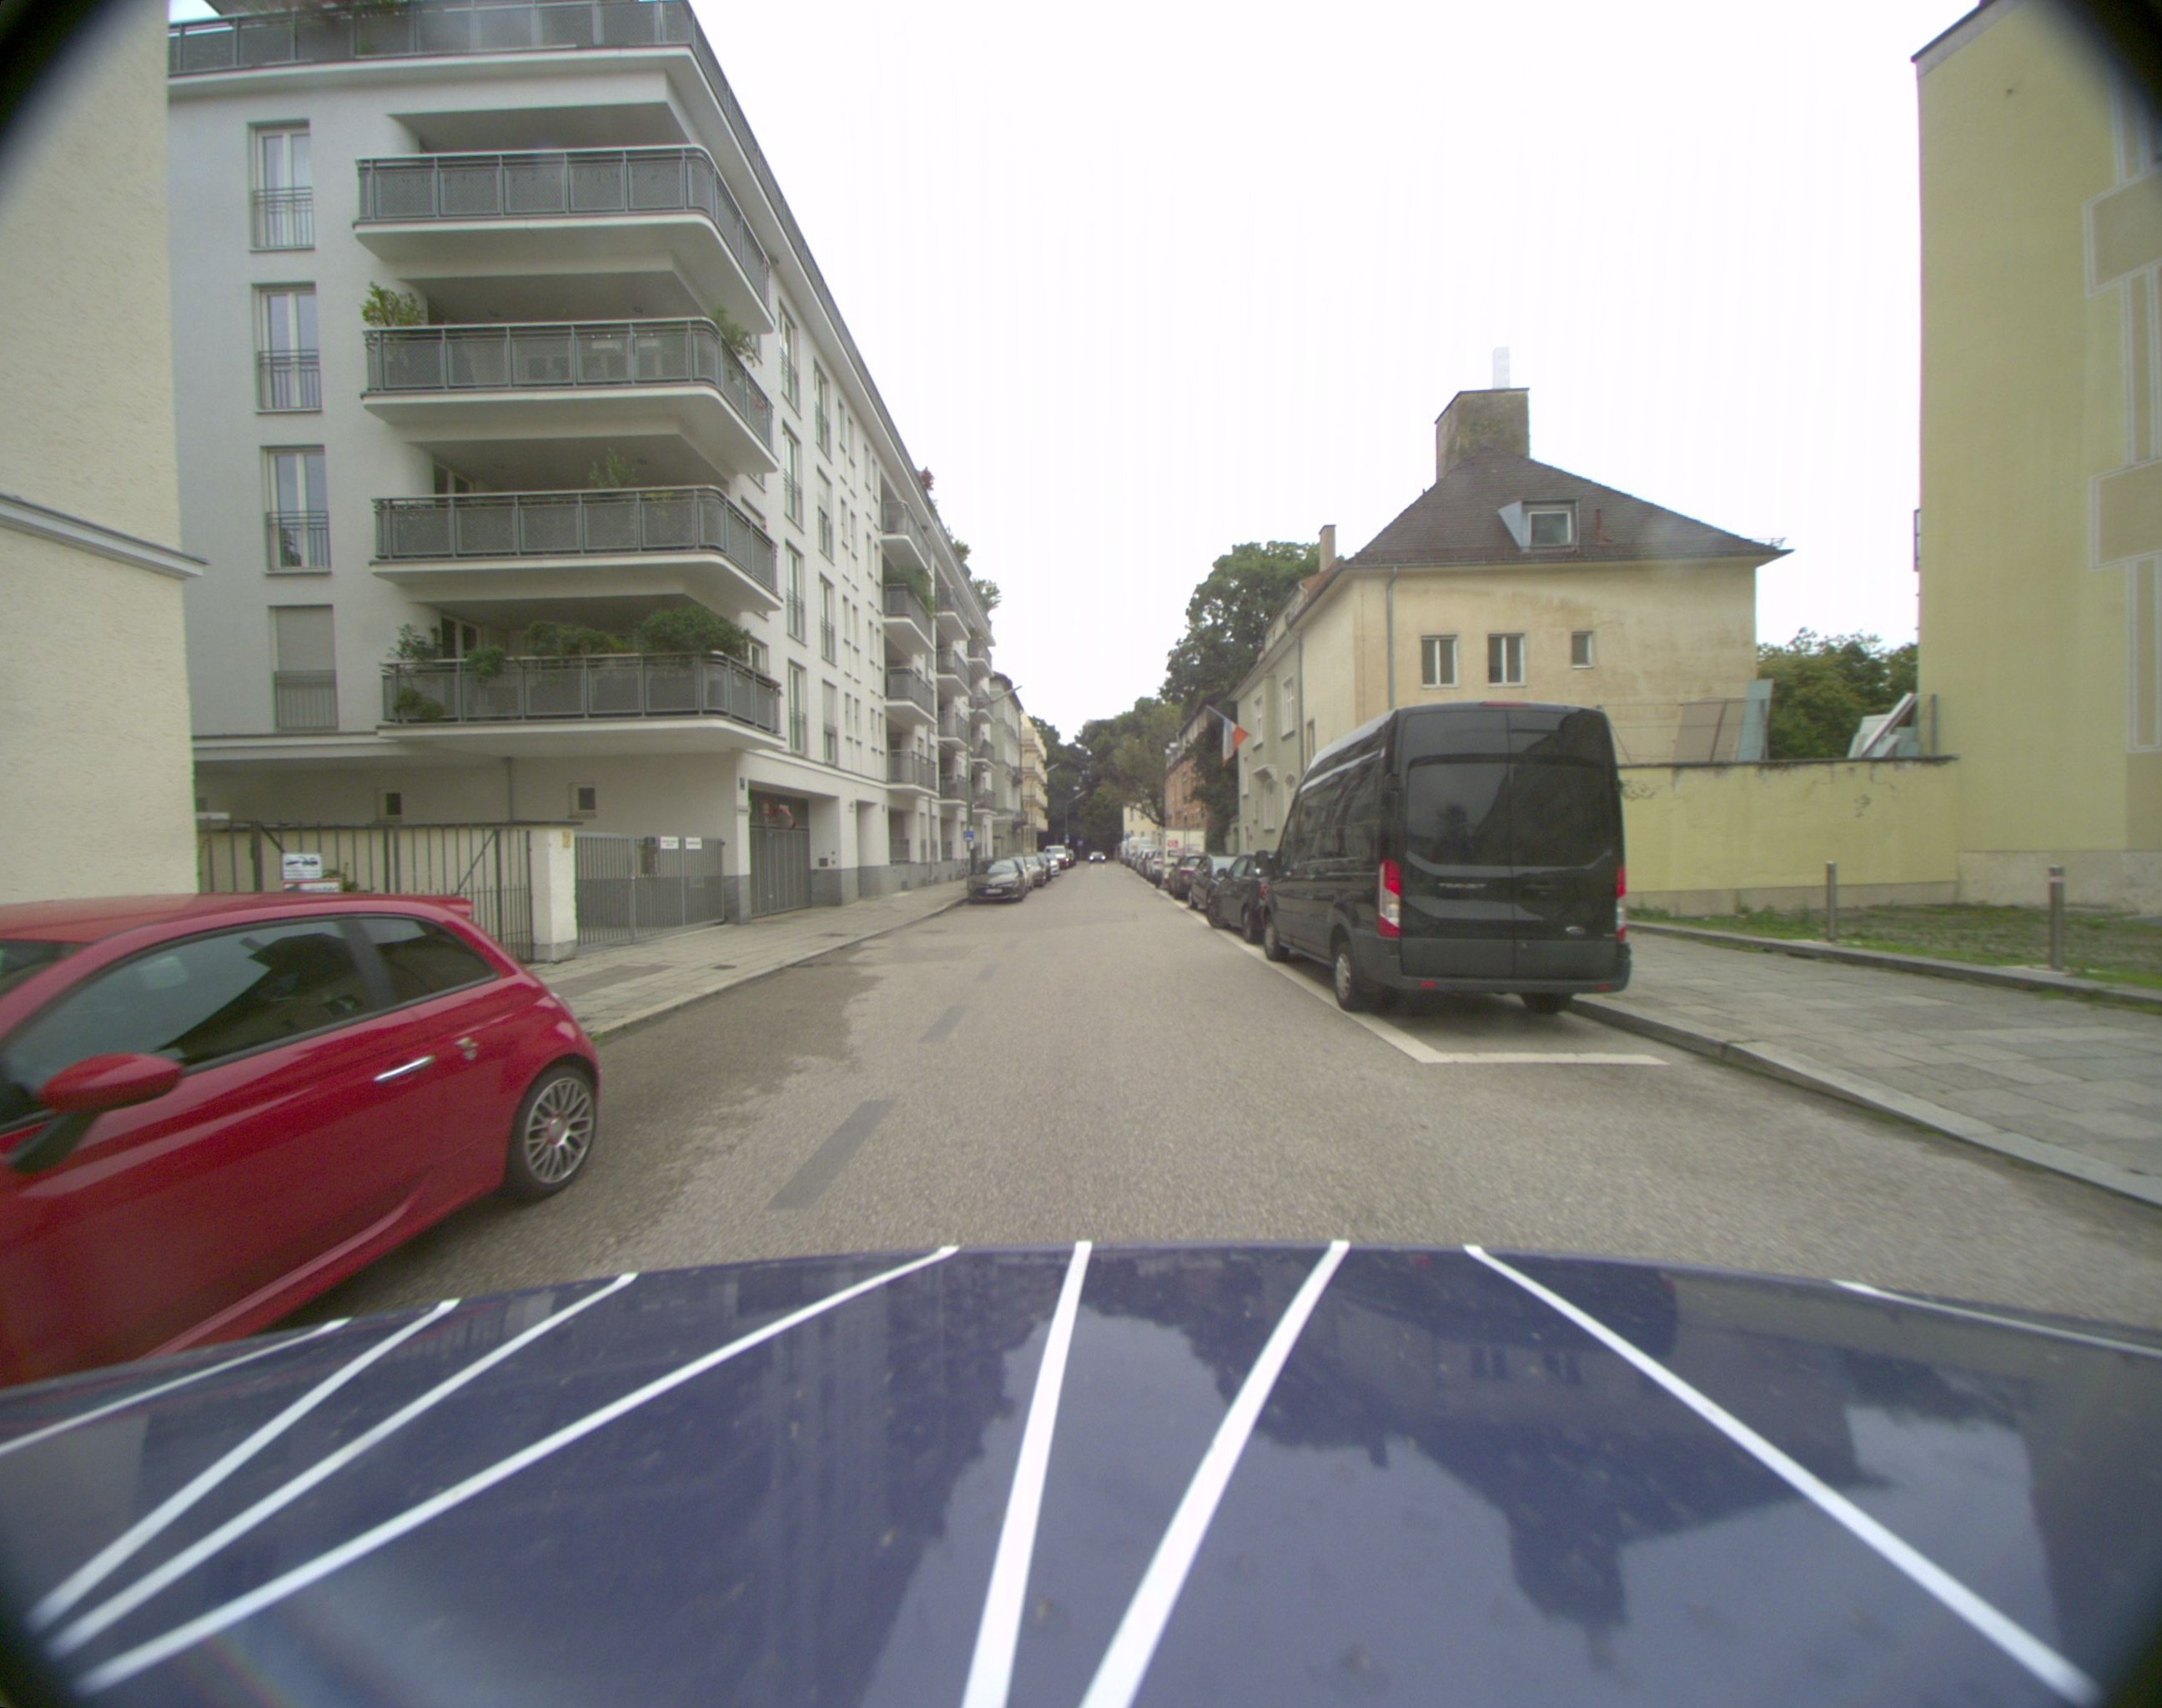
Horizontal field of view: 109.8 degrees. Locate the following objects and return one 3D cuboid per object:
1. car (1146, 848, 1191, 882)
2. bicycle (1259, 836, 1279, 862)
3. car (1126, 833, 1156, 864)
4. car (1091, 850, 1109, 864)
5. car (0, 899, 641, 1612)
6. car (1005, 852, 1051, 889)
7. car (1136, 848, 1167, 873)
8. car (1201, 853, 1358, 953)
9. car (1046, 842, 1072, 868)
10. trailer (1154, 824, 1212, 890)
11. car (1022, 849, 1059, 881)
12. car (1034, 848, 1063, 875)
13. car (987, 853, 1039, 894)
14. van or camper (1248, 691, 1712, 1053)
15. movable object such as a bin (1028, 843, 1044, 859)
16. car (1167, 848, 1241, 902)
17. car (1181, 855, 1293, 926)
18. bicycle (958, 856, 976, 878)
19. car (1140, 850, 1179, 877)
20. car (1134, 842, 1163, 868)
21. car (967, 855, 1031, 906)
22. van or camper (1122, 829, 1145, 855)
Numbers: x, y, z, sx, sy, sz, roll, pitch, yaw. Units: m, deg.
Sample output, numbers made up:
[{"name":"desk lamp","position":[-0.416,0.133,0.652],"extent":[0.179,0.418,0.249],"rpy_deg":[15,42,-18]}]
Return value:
[{"name":"car","position":[4.087,0.476,35.907],"extent":[1.683,1.521,4.106],"rpy_deg":[0,1,1]},{"name":"bicycle","position":[8.204,-0.230,33.195],"extent":[0.461,1.078,1.522],"rpy_deg":[-3,2,0]},{"name":"car","position":[4.930,-0.480,63.321],"extent":[2.117,2.462,5.230],"rpy_deg":[0,1,1]},{"name":"car","position":[2.147,0.337,87.290],"extent":[1.998,1.521,4.000],"rpy_deg":[-2,1,1]},{"name":"car","position":[-3.281,1.013,2.309],"extent":[1.659,1.421,3.755],"rpy_deg":[-2,1,0]},{"name":"car","position":[-2.412,0.713,35.748],"extent":[1.796,1.474,4.602],"rpy_deg":[-3,1,0]},{"name":"car","position":[4.283,0.357,46.685],"extent":[1.630,1.459,3.520],"rpy_deg":[0,1,1]},{"name":"car","position":[3.381,0.767,13.708],"extent":[1.657,1.488,3.907],"rpy_deg":[0,1,-3]},{"name":"car","position":[-1.764,0.064,62.521],"extent":[1.858,2.019,4.783],"rpy_deg":[-2,1,1]},{"name":"trailer","position":[4.053,0.059,30.860],"extent":[1.980,2.457,4.577],"rpy_deg":[2,1,4]},{"name":"car","position":[-2.159,0.557,41.518],"extent":[1.842,1.524,4.020],"rpy_deg":[-3,1,-1]},{"name":"car","position":[-2.000,0.458,47.552],"extent":[1.668,1.459,4.374],"rpy_deg":[-1,2,-1]},{"name":"car","position":[-2.703,0.753,30.807],"extent":[1.621,1.458,3.746],"rpy_deg":[-2,1,1]},{"name":"van or camper","position":[3.522,0.086,8.363],"extent":[2.298,2.636,5.561],"rpy_deg":[1,1,2]},{"name":"movable object such as a bin","position":[-3.498,-0.259,59.139],"extent":[1.023,1.186,2.163],"rpy_deg":[1,1,2]},{"name":"car","position":[3.897,0.605,24.880],"extent":[1.868,1.533,5.092],"rpy_deg":[0,1,3]},{"name":"car","position":[3.601,0.777,18.277],"extent":[1.679,1.428,4.285],"rpy_deg":[0,1,-2]},{"name":"bicycle","position":[-5.947,0.678,39.724],"extent":[0.570,1.092,1.810],"rpy_deg":[2,1,2]},{"name":"car","position":[4.236,0.481,41.684],"extent":[1.750,1.360,4.402],"rpy_deg":[0,1,1]},{"name":"car","position":[4.662,0.033,52.969],"extent":[1.719,1.746,4.250],"rpy_deg":[0,1,1]},{"name":"car","position":[-2.709,0.831,25.857],"extent":[1.776,1.467,4.216],"rpy_deg":[-2,1,-1]},{"name":"van or camper","position":[5.432,-1.294,79.737],"extent":[2.116,2.646,4.957],"rpy_deg":[0,1,1]}]
